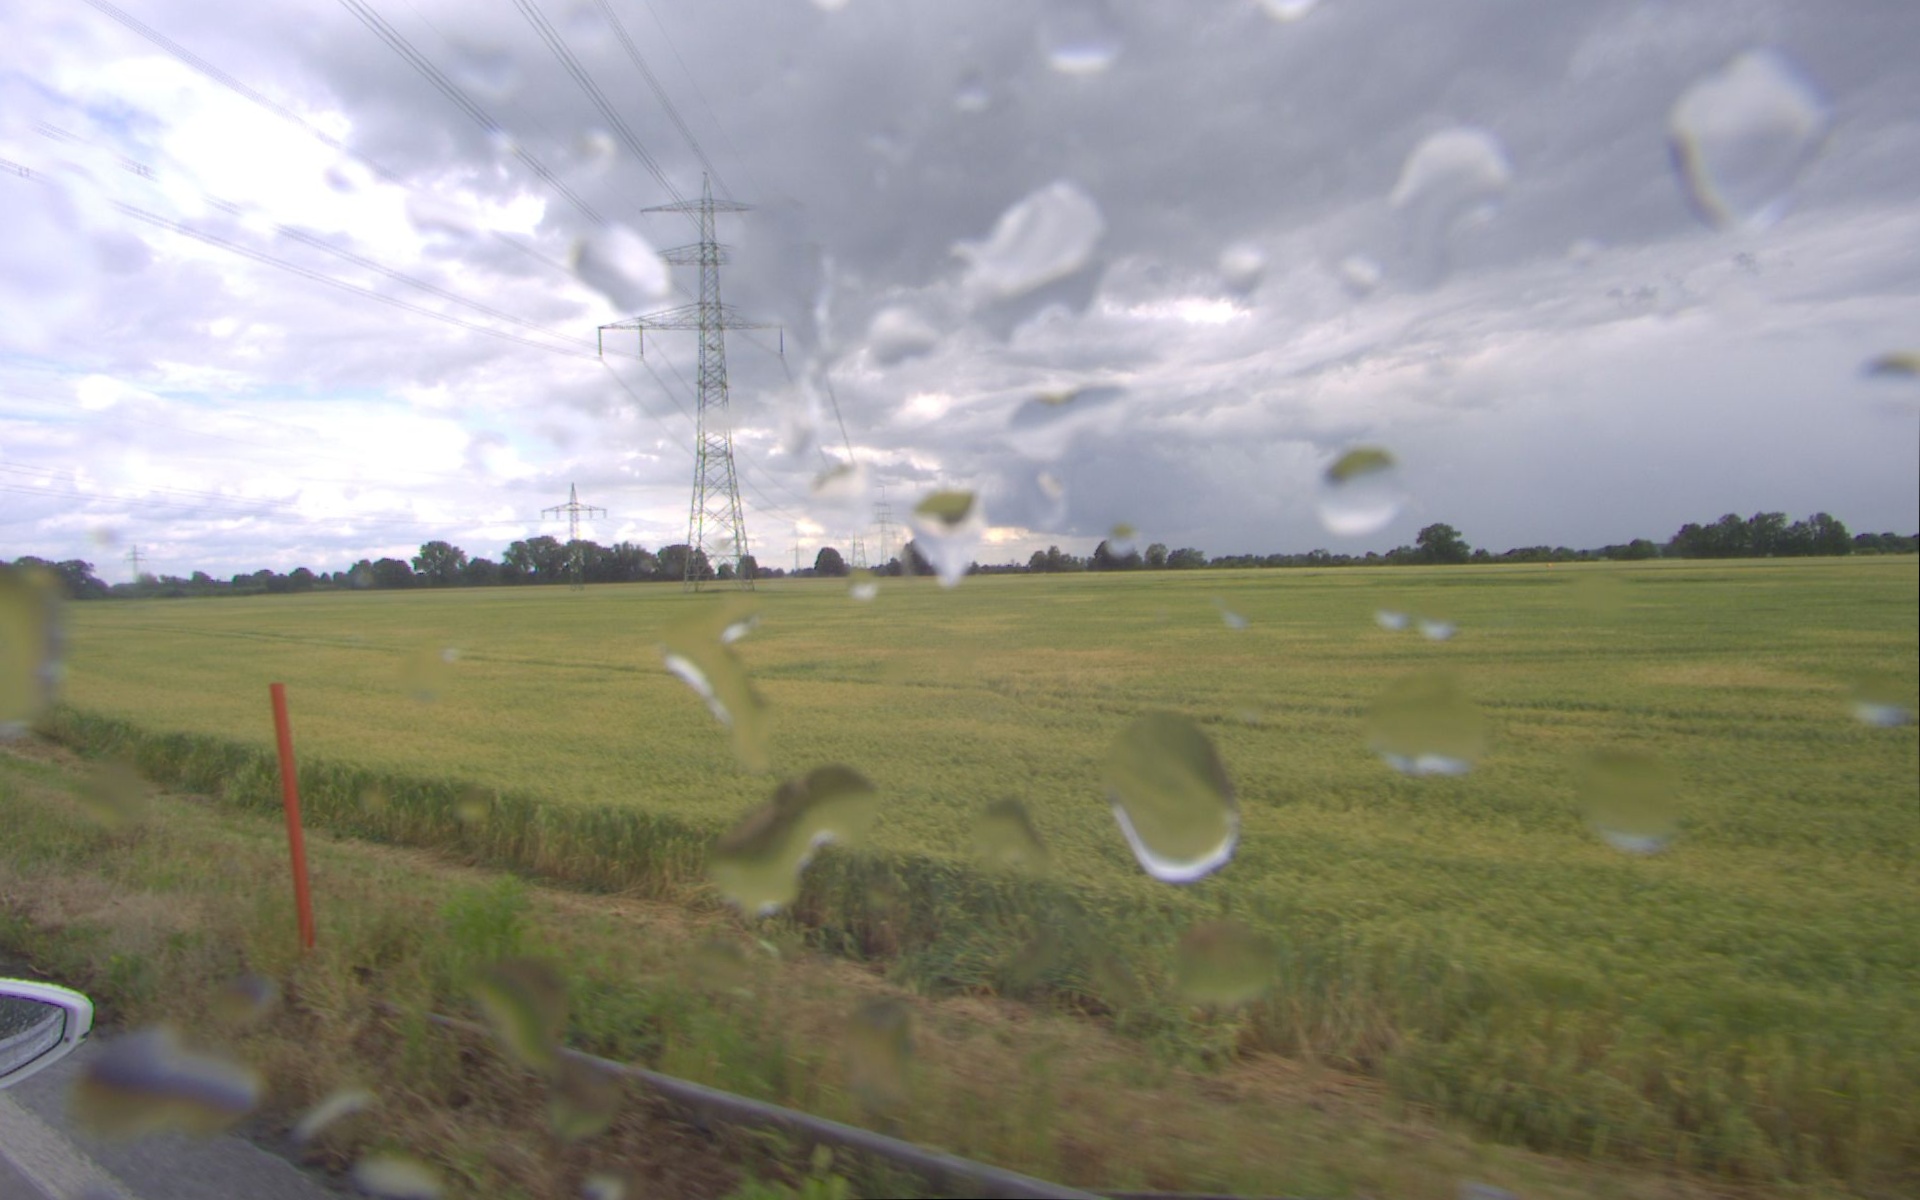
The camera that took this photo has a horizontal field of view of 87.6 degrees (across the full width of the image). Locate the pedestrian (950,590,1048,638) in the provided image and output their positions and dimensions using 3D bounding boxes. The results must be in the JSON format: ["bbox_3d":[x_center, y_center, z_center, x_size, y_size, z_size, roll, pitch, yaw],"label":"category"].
[{"bbox_3d":[1.770,0.664,45.365,3.938,2.039,1.993,-2,-2,27],"label":"pedestrian"}]
